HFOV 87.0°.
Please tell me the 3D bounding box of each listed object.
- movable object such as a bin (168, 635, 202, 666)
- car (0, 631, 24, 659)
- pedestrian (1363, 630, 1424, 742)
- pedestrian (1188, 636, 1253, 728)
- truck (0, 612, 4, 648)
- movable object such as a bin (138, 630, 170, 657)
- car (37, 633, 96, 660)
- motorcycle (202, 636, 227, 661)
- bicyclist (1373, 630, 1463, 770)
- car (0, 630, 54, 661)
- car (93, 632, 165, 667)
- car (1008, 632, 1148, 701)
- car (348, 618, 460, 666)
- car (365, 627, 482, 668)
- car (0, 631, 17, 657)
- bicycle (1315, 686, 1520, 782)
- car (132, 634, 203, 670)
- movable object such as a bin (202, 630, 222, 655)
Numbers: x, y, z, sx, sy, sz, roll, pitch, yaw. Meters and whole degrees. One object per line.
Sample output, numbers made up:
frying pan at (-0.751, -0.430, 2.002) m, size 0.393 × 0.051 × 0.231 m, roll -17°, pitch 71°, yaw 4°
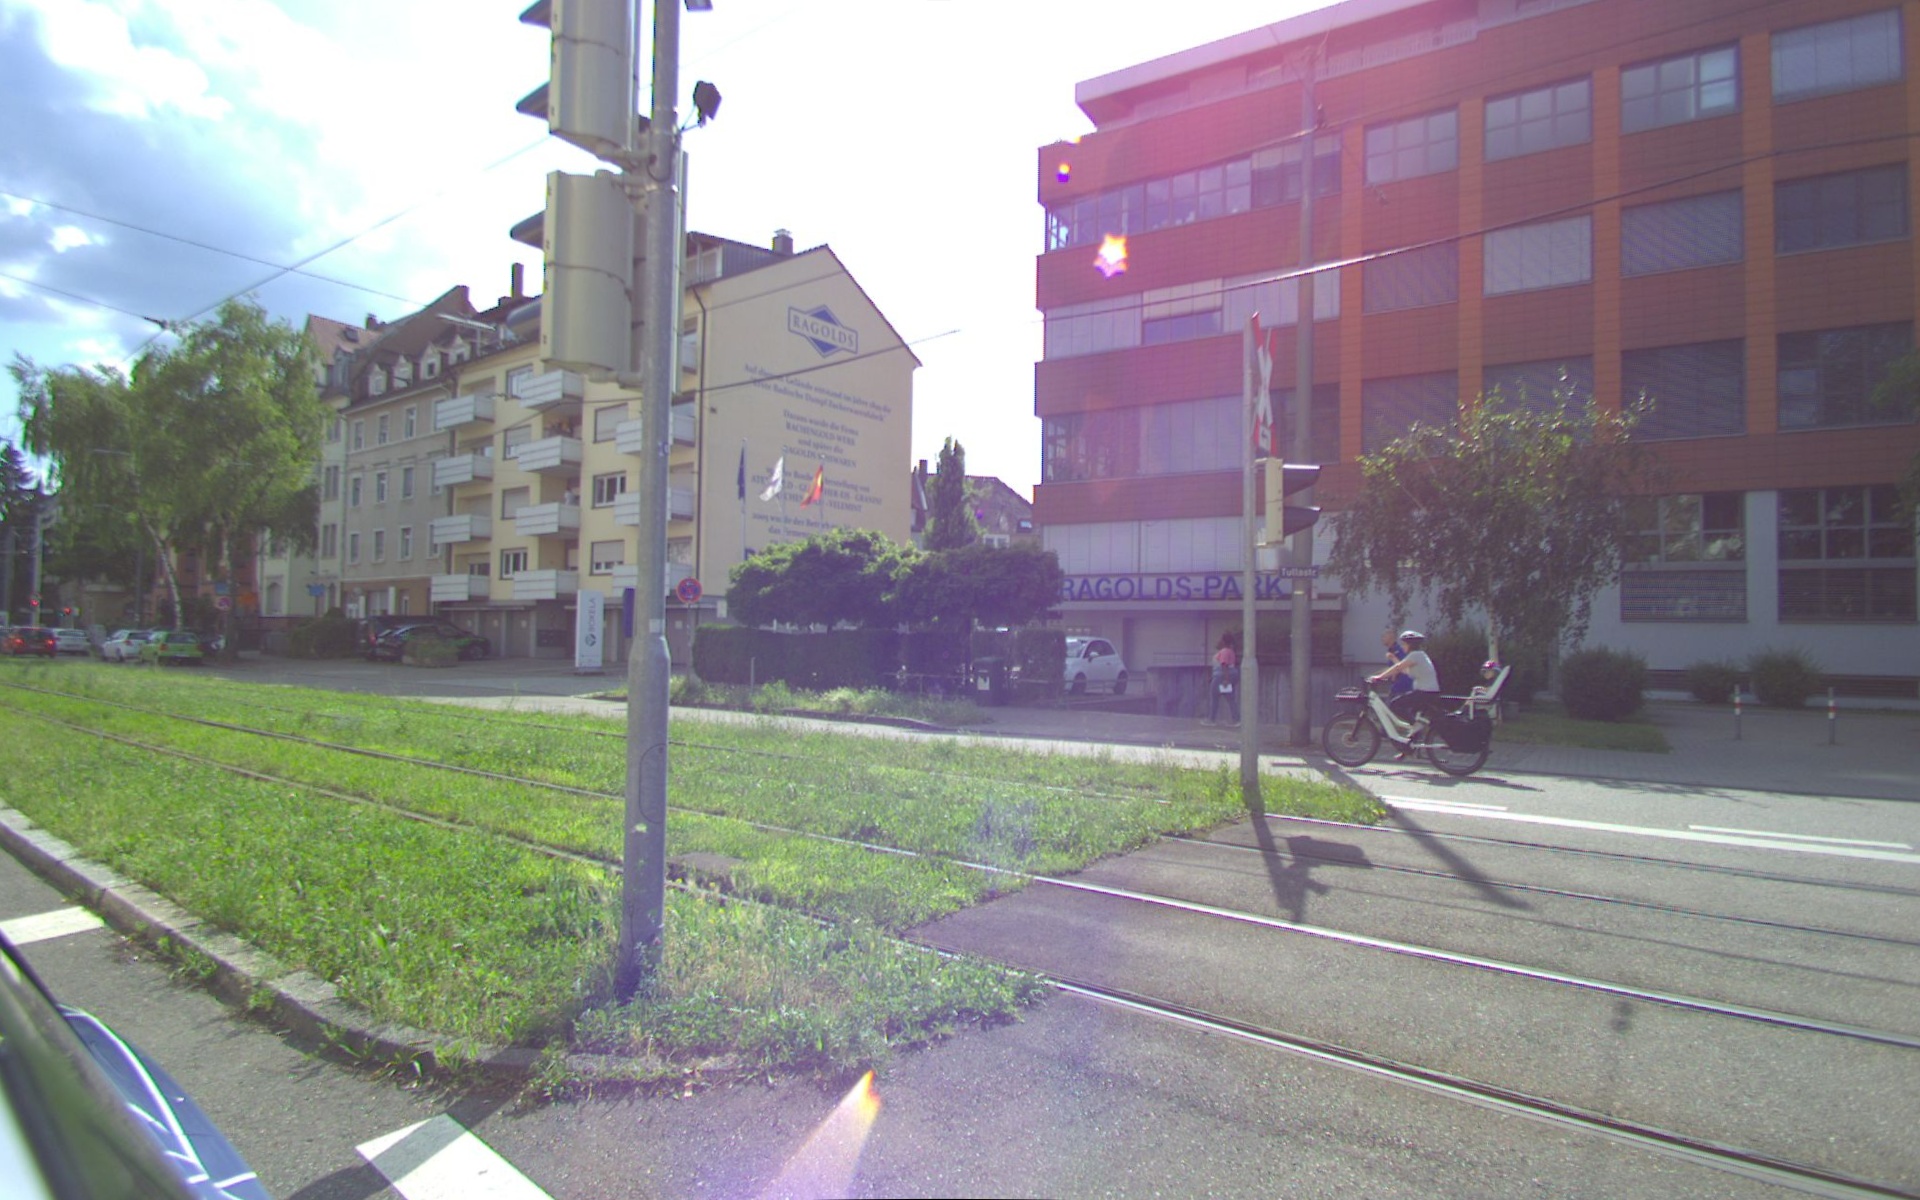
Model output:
movable object such as a bin at (-37.319, 2.419, 48.710) m, size 1.519 × 1.441 × 0.942 m, roll -1°, pitch -1°, yaw 37°
car at (-50.008, 2.259, 52.285) m, size 4.508 × 1.366 × 1.737 m, roll -1°, pitch -5°, yaw 40°
pedestrian at (6.701, 1.309, 15.640) m, size 0.746 × 1.669 × 0.551 m, roll -1°, pitch -3°, yaw 40°
pedestrian at (4.675, 1.453, 18.168) m, size 0.889 × 1.586 × 0.737 m, roll -3°, pitch -3°, yaw 40°
truck at (-61.674, 1.837, 63.264) m, size 6.611 × 2.231 × 2.161 m, roll -2°, pitch -5°, yaw 43°
movable object such as a bin at (-42.230, 2.265, 53.011) m, size 1.519 × 1.377 × 0.942 m, roll -1°, pitch 1°, yaw 37°
car at (-48.050, 2.477, 54.425) m, size 3.991 × 1.366 × 1.737 m, roll -1°, pitch -4°, yaw 40°
motorcycle at (-33.846, 2.194, 45.931) m, size 1.630 × 1.050 × 0.494 m, roll 0°, pitch 1°, yaw 38°
bicyclist at (5.516, 1.172, 12.179) m, size 0.862 × 1.594 × 0.778 m, roll -1°, pitch -4°, yaw 35°
car at (-44.319, 2.142, 47.866) m, size 3.688 × 1.397 × 1.563 m, roll -1°, pitch -4°, yaw 39°
car at (-37.831, 2.231, 46.040) m, size 4.220 × 1.489 × 1.628 m, roll -1°, pitch -5°, yaw 39°
car at (3.130, 1.675, 26.199) m, size 1.995 × 1.608 × 3.953 m, roll -1°, pitch -3°, yaw 35°
car at (-24.627, 1.815, 44.931) m, size 1.936 × 2.029 × 3.945 m, roll -1°, pitch -2°, yaw 41°
car at (-22.722, 1.978, 42.989) m, size 1.970 × 1.614 × 3.949 m, roll -1°, pitch -2°, yaw 38°
car at (-54.583, 2.432, 56.993) m, size 4.133 × 1.425 × 1.736 m, roll -1°, pitch -5°, yaw 42°
bicycle at (5.499, 1.580, 12.259) m, size 2.174 × 0.978 × 0.674 m, roll -1°, pitch -4°, yaw 36°
car at (-33.764, 2.218, 43.093) m, size 3.610 × 1.443 × 1.578 m, roll -1°, pitch -4°, yaw 39°
movable object such as a bin at (-41.786, 2.370, 56.554) m, size 0.697 × 1.372 × 0.667 m, roll -1°, pitch -3°, yaw 35°
